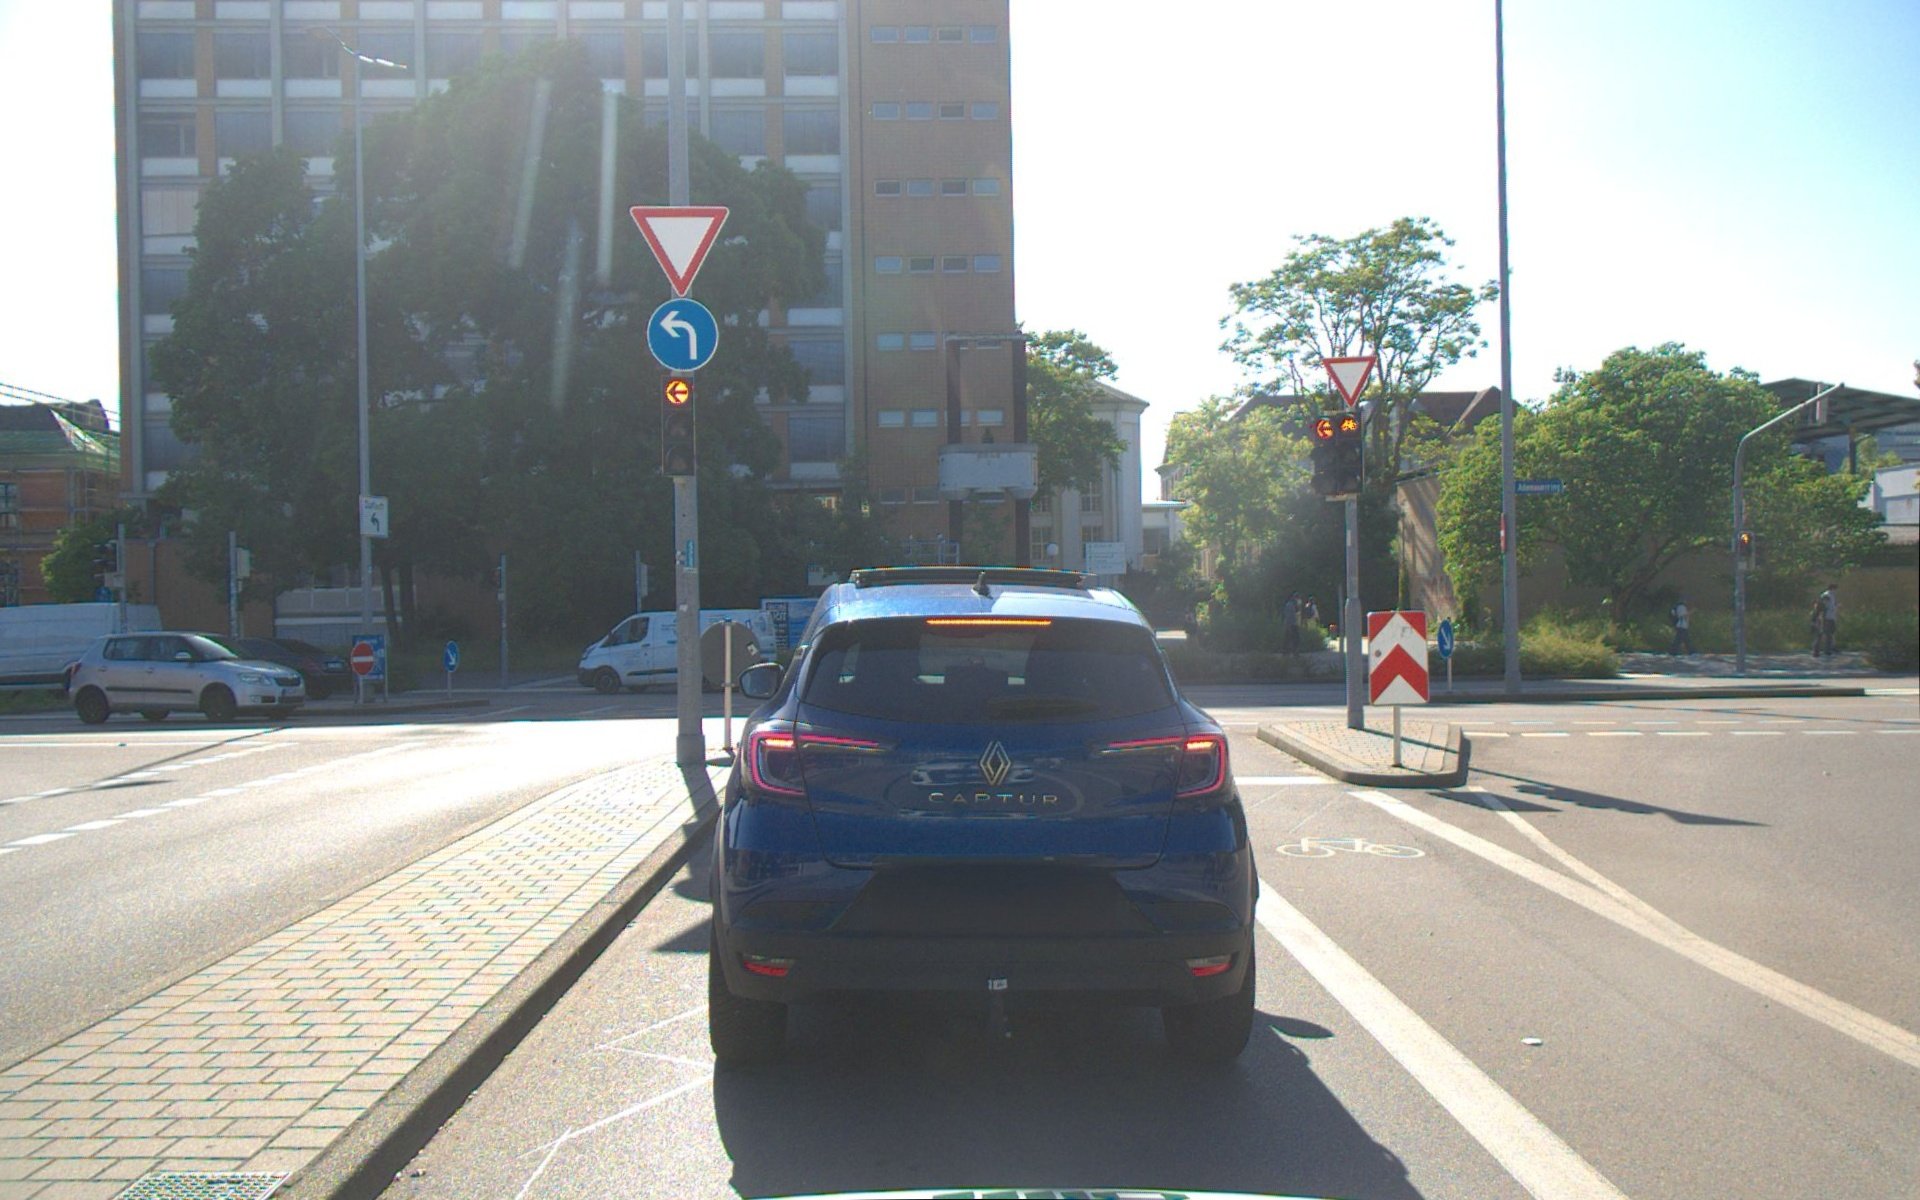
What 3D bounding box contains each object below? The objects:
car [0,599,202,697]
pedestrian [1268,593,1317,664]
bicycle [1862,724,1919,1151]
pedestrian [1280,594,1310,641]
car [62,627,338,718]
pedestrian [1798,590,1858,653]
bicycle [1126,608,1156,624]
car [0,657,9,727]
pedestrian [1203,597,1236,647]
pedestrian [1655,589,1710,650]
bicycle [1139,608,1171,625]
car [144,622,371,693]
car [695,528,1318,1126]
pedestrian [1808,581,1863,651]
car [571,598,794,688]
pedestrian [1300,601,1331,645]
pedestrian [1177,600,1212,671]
[{"bbox_3d":[-25.024,1.328,46.109,6.789,2.591,3.014,-1,0,18],"label":"car"},{"bbox_3d":[9.102,0.778,45.269,1.269,1.888,0.967,-1,0,11],"label":"pedestrian"},{"bbox_3d":[2.969,0.940,3.926,0.602,1.158,1.825,0,0,-2],"label":"bicycle"},{"bbox_3d":[12.976,0.679,64.101,0.933,1.772,0.984,-1,0,-1],"label":"pedestrian"},{"bbox_3d":[-12.643,1.203,27.622,3.762,1.428,1.893,0,-3,11],"label":"car"},{"bbox_3d":[21.744,0.533,41.440,1.052,1.547,0.879,-1,0,4],"label":"pedestrian"},{"bbox_3d":[10.854,0.976,99.339,1.735,0.908,0.765,-1,0,-1],"label":"bicycle"},{"bbox_3d":[-26.036,2.198,40.511,4.925,1.702,2.000,0,-3,20],"label":"car"},{"bbox_3d":[10.700,0.900,68.297,1.132,2.049,1.164,-1,0,-1],"label":"pedestrian"},{"bbox_3d":[18.613,0.501,42.609,1.062,1.547,0.931,-1,0,9],"label":"pedestrian"},{"bbox_3d":[11.200,0.947,94.981,1.735,0.914,0.765,-1,0,-1],"label":"bicycle"},{"bbox_3d":[-16.985,1.384,40.068,4.739,1.609,2.103,-1,0,14],"label":"car"},{"bbox_3d":[0.082,0.639,6.620,1.758,1.684,3.852,1,0,-2],"label":"car"},{"bbox_3d":[22.557,0.414,42.617,0.942,1.763,0.926,-1,0,6],"label":"pedestrian"},{"bbox_3d":[-6.725,1.034,40.293,4.892,2.049,2.074,-1,0,12],"label":"car"},{"bbox_3d":[13.654,0.871,63.560,0.917,1.641,1.175,-1,0,-1],"label":"pedestrian"},{"bbox_3d":[6.386,0.961,45.056,0.912,1.888,0.808,-1,0,8],"label":"pedestrian"}]
